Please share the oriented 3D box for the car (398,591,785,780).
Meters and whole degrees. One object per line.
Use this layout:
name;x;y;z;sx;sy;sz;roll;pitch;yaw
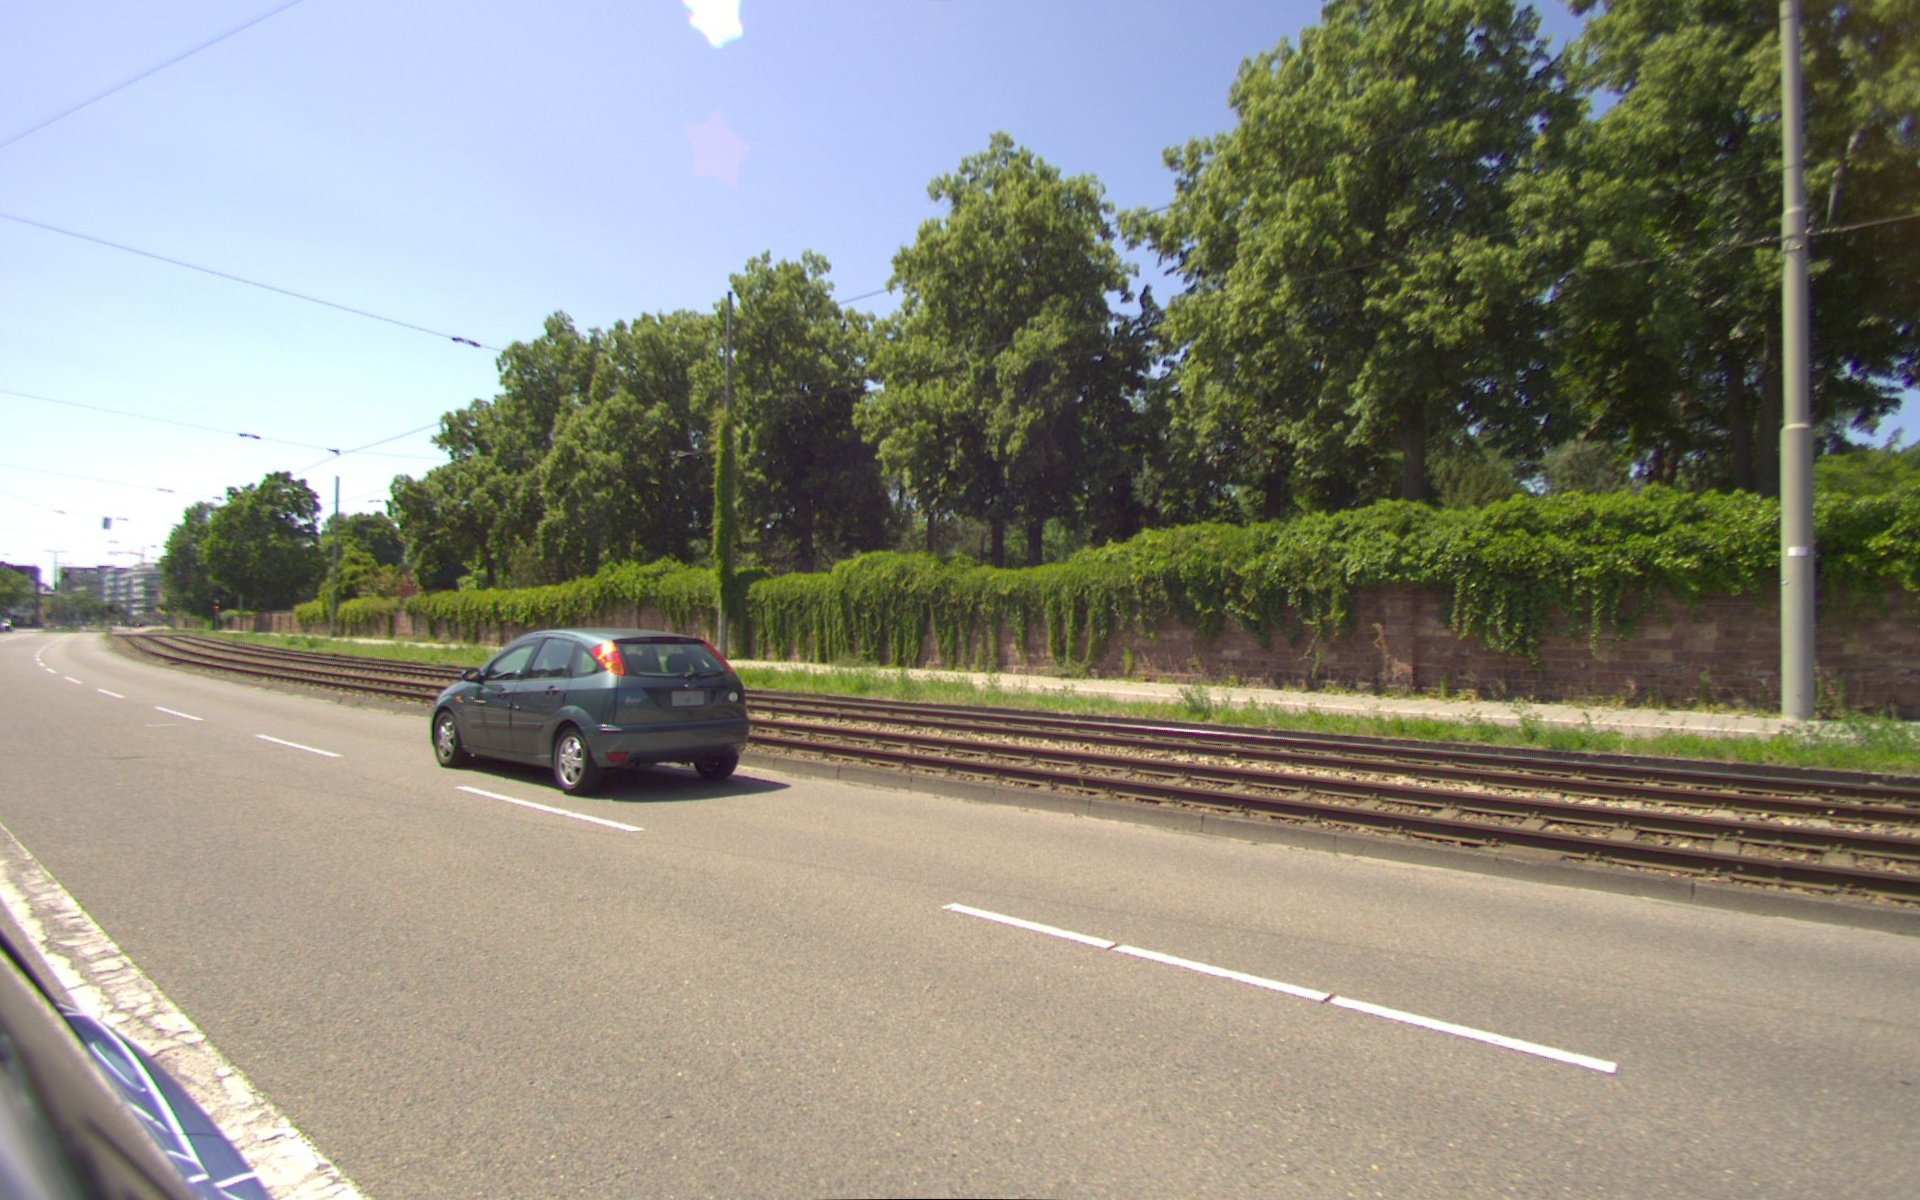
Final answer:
car;-3.869;0.754;10.263;4.321;1.521;1.738;-1;-4;40
